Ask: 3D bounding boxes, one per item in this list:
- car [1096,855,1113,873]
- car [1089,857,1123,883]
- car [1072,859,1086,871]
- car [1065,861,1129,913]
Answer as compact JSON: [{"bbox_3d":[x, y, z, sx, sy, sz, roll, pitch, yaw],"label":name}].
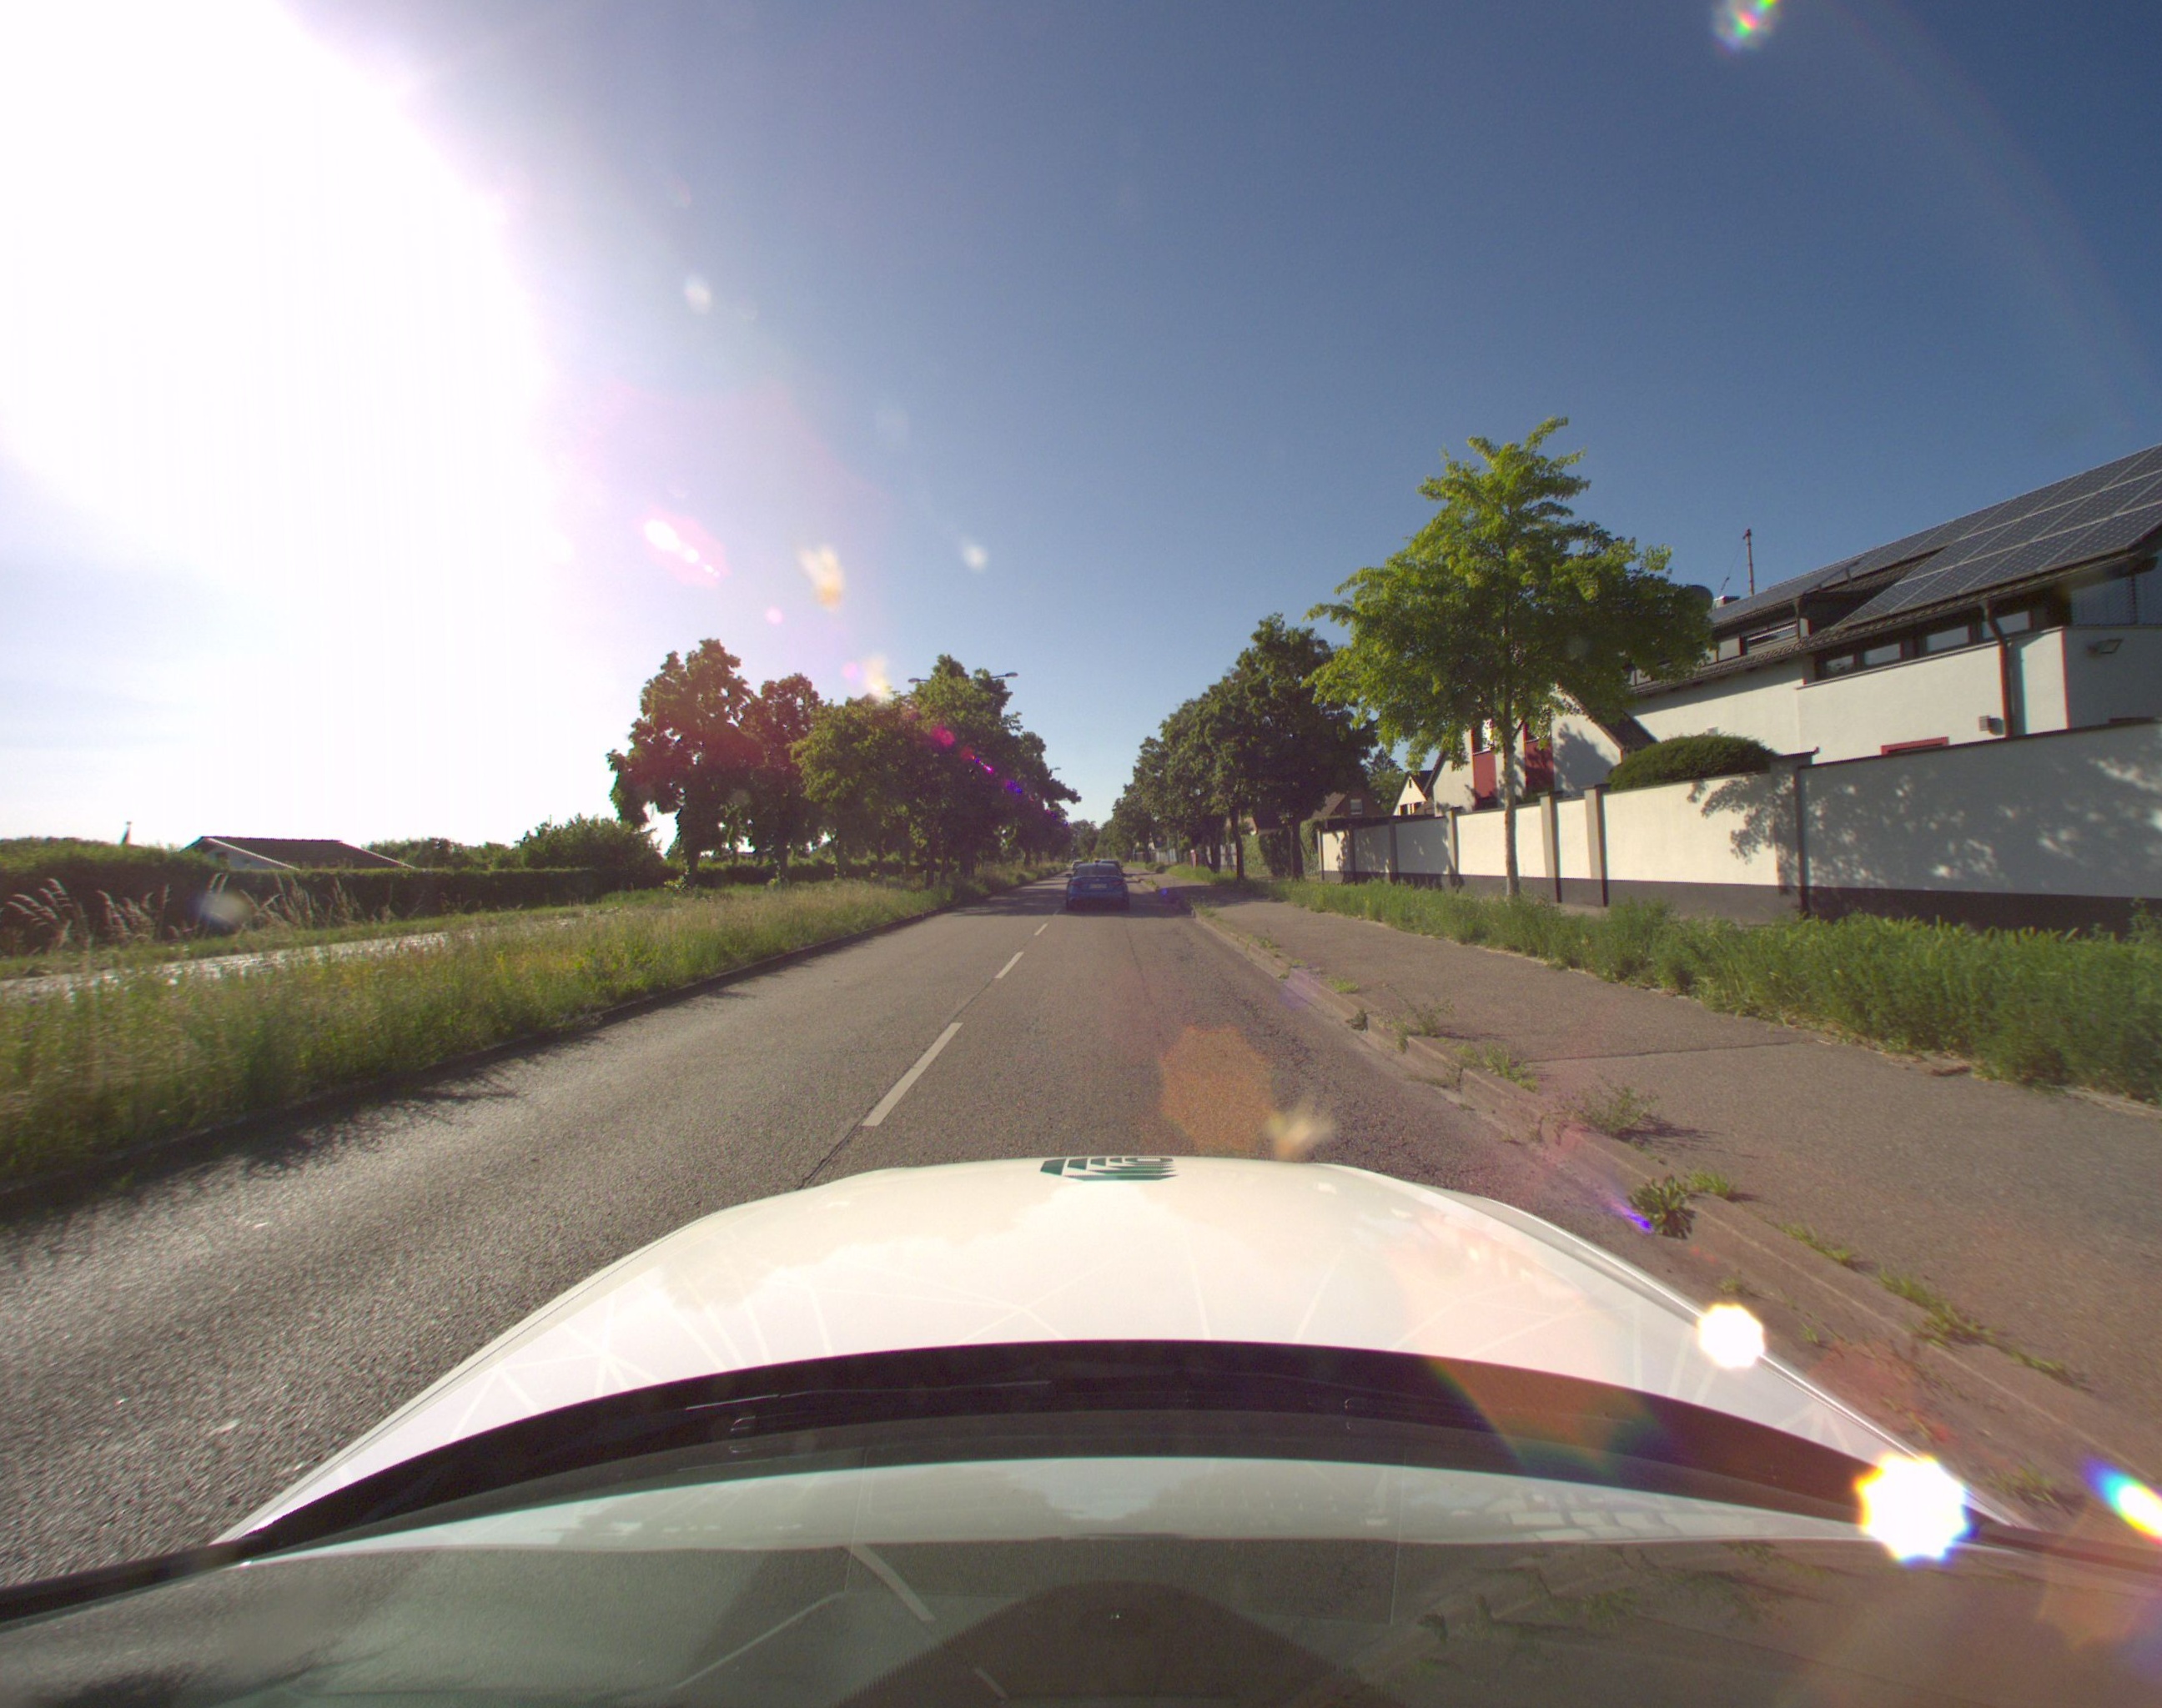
[{"bbox_3d":[2.608,1.135,92.262,1.786,2.014,4.001,-2,0,1],"label":"car"},{"bbox_3d":[1.603,1.020,53.963,1.911,1.579,4.178,-2,-1,-3],"label":"car"},{"bbox_3d":[-0.276,1.488,110.856,1.909,1.512,4.066,-2,-1,-1],"label":"car"},{"bbox_3d":[0.568,1.001,25.616,1.831,1.474,4.187,0,-1,3],"label":"car"}]
